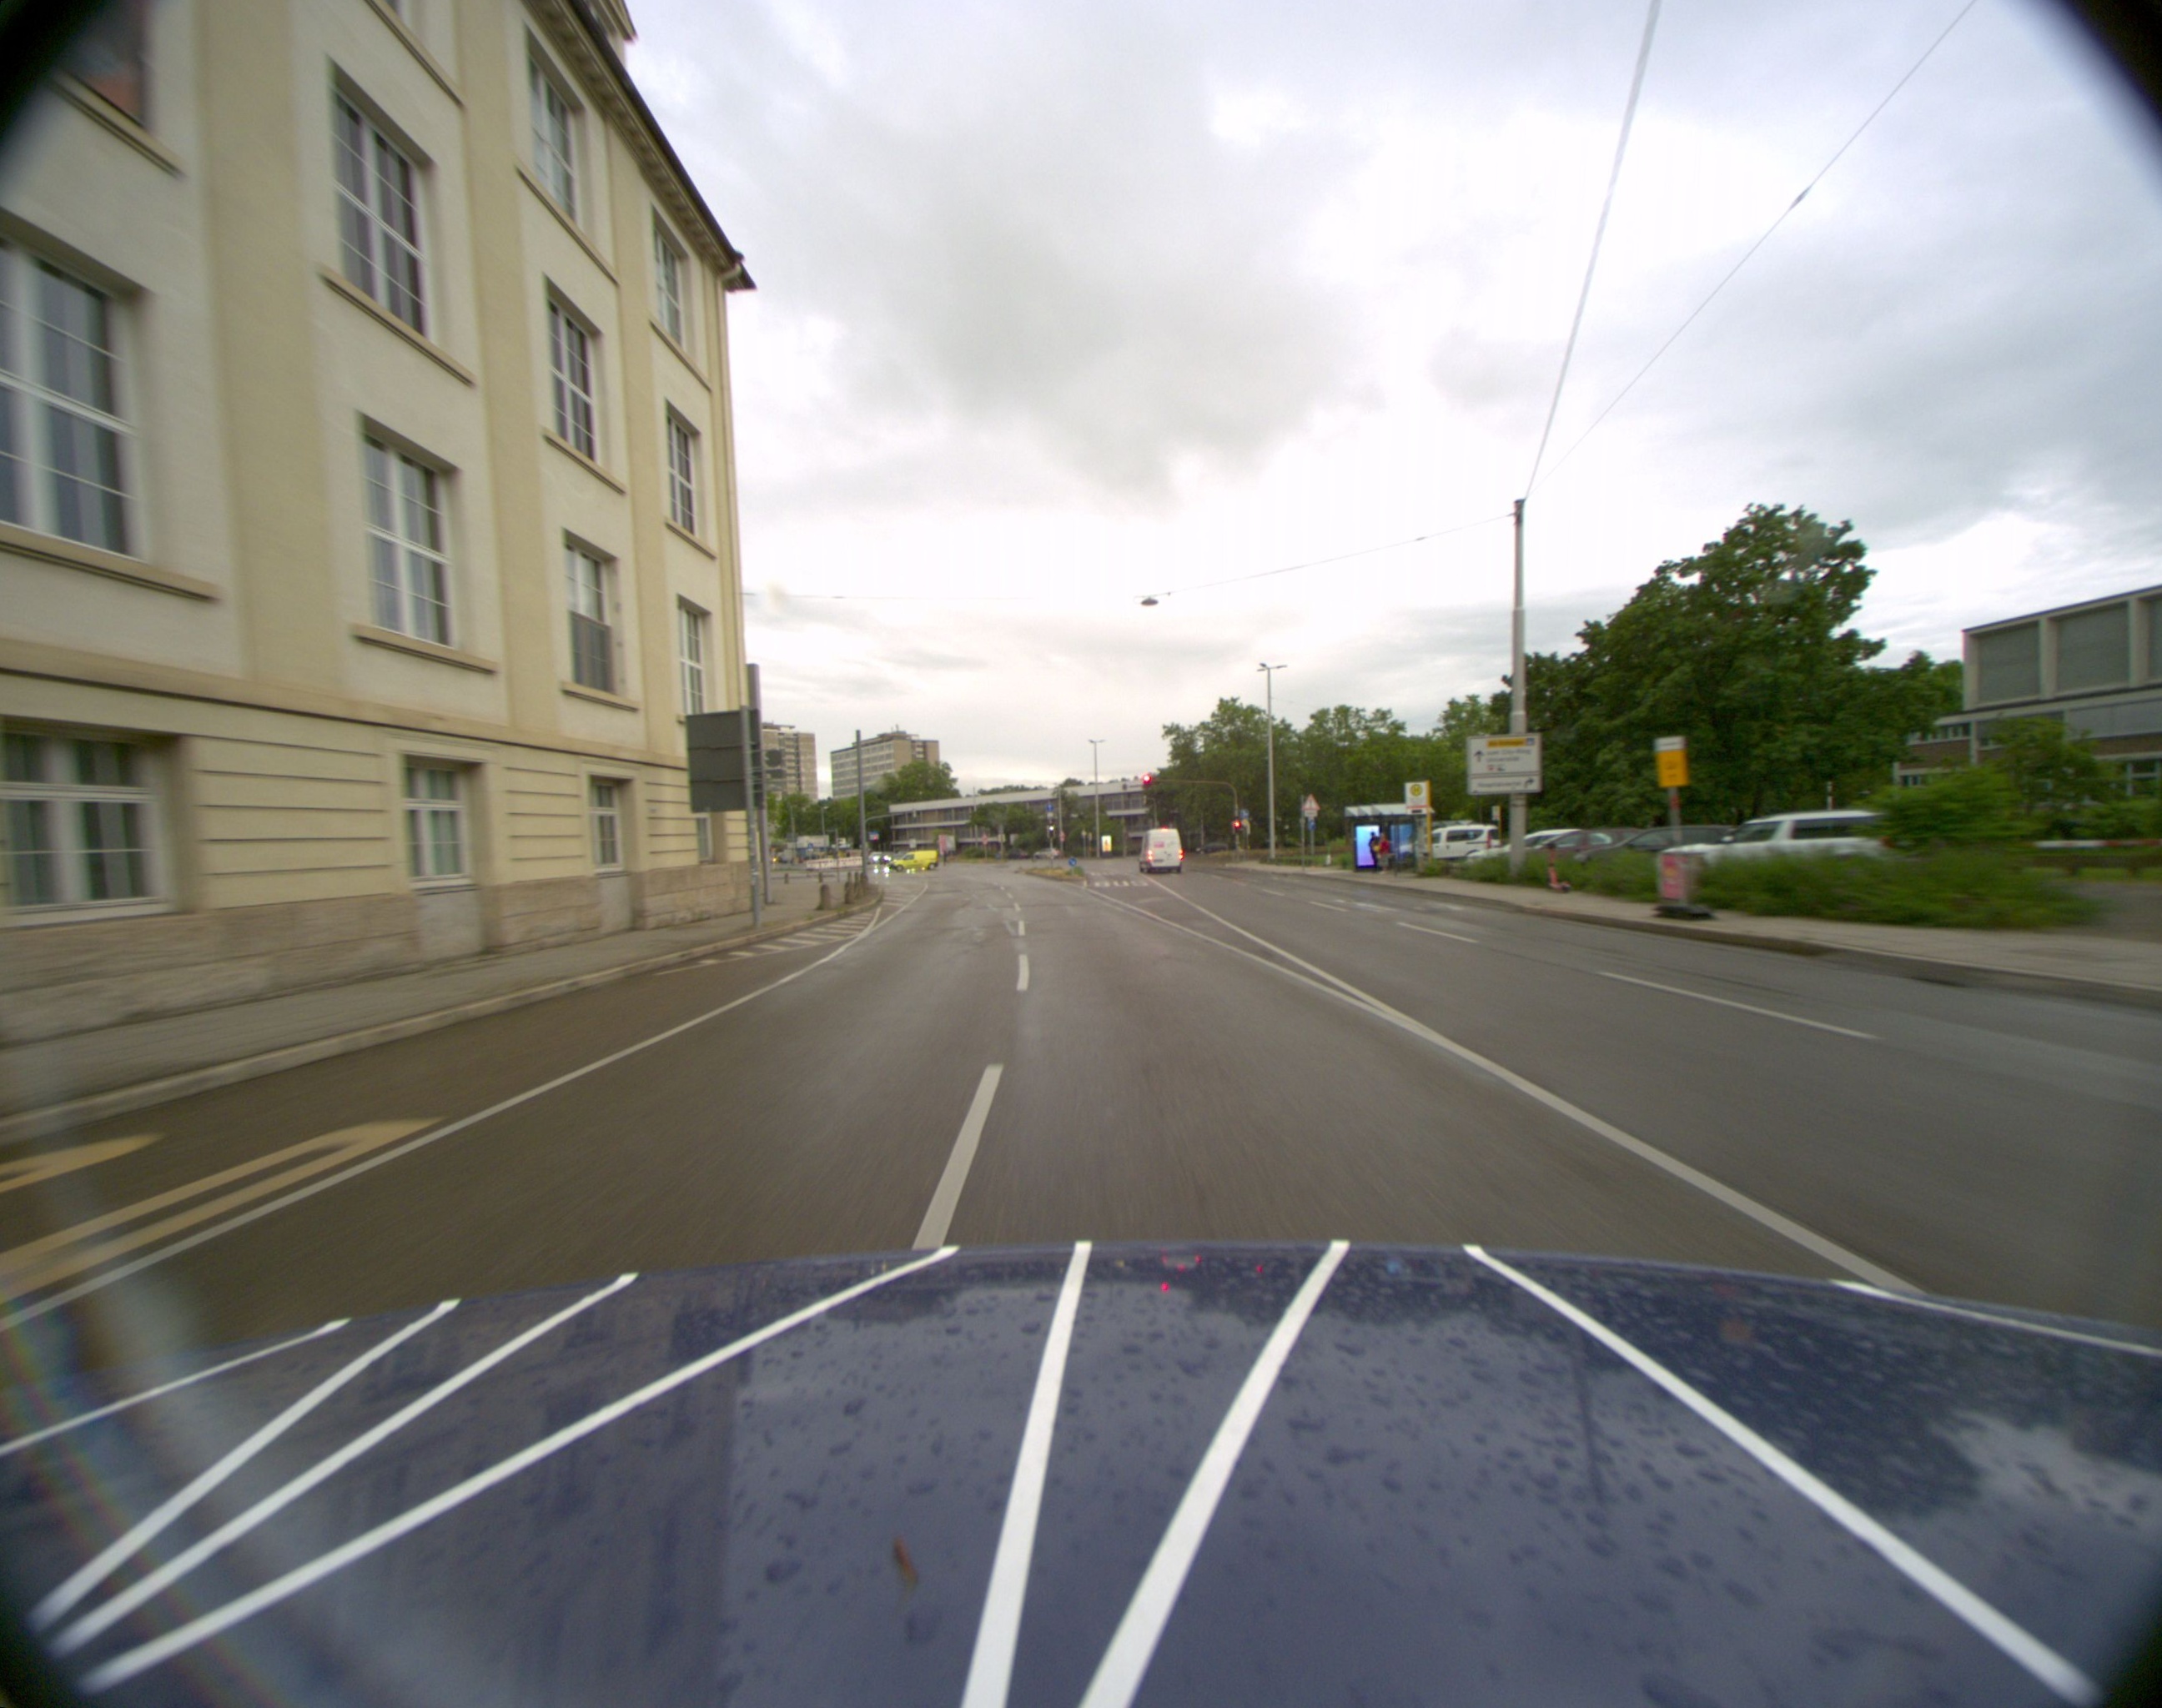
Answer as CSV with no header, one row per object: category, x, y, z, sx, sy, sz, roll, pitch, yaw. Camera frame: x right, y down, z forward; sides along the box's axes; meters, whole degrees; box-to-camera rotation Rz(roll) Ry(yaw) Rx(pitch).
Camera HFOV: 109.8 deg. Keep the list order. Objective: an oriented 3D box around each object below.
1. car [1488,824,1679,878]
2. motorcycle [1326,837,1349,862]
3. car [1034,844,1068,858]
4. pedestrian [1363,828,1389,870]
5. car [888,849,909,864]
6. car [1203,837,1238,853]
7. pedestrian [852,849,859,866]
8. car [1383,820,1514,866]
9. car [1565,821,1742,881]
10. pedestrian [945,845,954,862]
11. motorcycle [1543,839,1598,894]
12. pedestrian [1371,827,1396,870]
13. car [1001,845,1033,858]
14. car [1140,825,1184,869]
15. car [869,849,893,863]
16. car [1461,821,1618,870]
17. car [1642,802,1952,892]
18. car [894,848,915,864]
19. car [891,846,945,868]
car,15.007,-0.088,23.049,4.573,1.341,1.907,-3,2,26
motorcycle,13.705,-0.242,40.571,0.516,1.240,1.266,-4,2,-13
car,-4.187,-0.448,106.587,4.335,1.900,2.081,-1,1,37
pedestrian,12.182,-0.219,31.384,0.685,1.686,0.671,-4,2,-7
car,-24.173,0.338,100.446,2.079,1.900,4.554,-2,1,-20
car,17.662,-1.134,96.097,4.340,1.900,2.079,-1,1,12
pedestrian,-27.797,0.457,93.678,0.644,2.002,0.594,-3,1,-23
car,16.041,-0.445,33.290,4.711,1.745,2.019,-2,2,43
car,15.084,-0.067,20.127,3.588,1.341,1.846,-3,2,39
pedestrian,-15.043,-0.054,86.901,0.903,1.786,0.541,-4,2,-5
motorcycle,11.808,0.275,18.358,0.516,1.240,1.267,-3,2,2
pedestrian,12.181,-0.238,30.593,0.629,1.686,0.642,-4,2,-7
car,-8.788,-0.310,103.935,3.833,1.664,1.931,-1,1,17
car,4.918,-0.453,46.850,1.988,2.515,5.630,-2,1,-1
car,-28.490,0.351,108.214,2.080,1.900,4.552,-2,1,-30
car,15.364,-0.274,25.670,4.369,1.341,1.907,-3,2,31
car,15.128,-0.121,16.350,1.871,1.600,4.515,-5,2,-33
car,-21.888,0.279,94.156,1.886,1.858,4.339,-2,1,-20
car,-16.002,0.253,74.545,4.828,1.996,2.119,-2,1,-22
